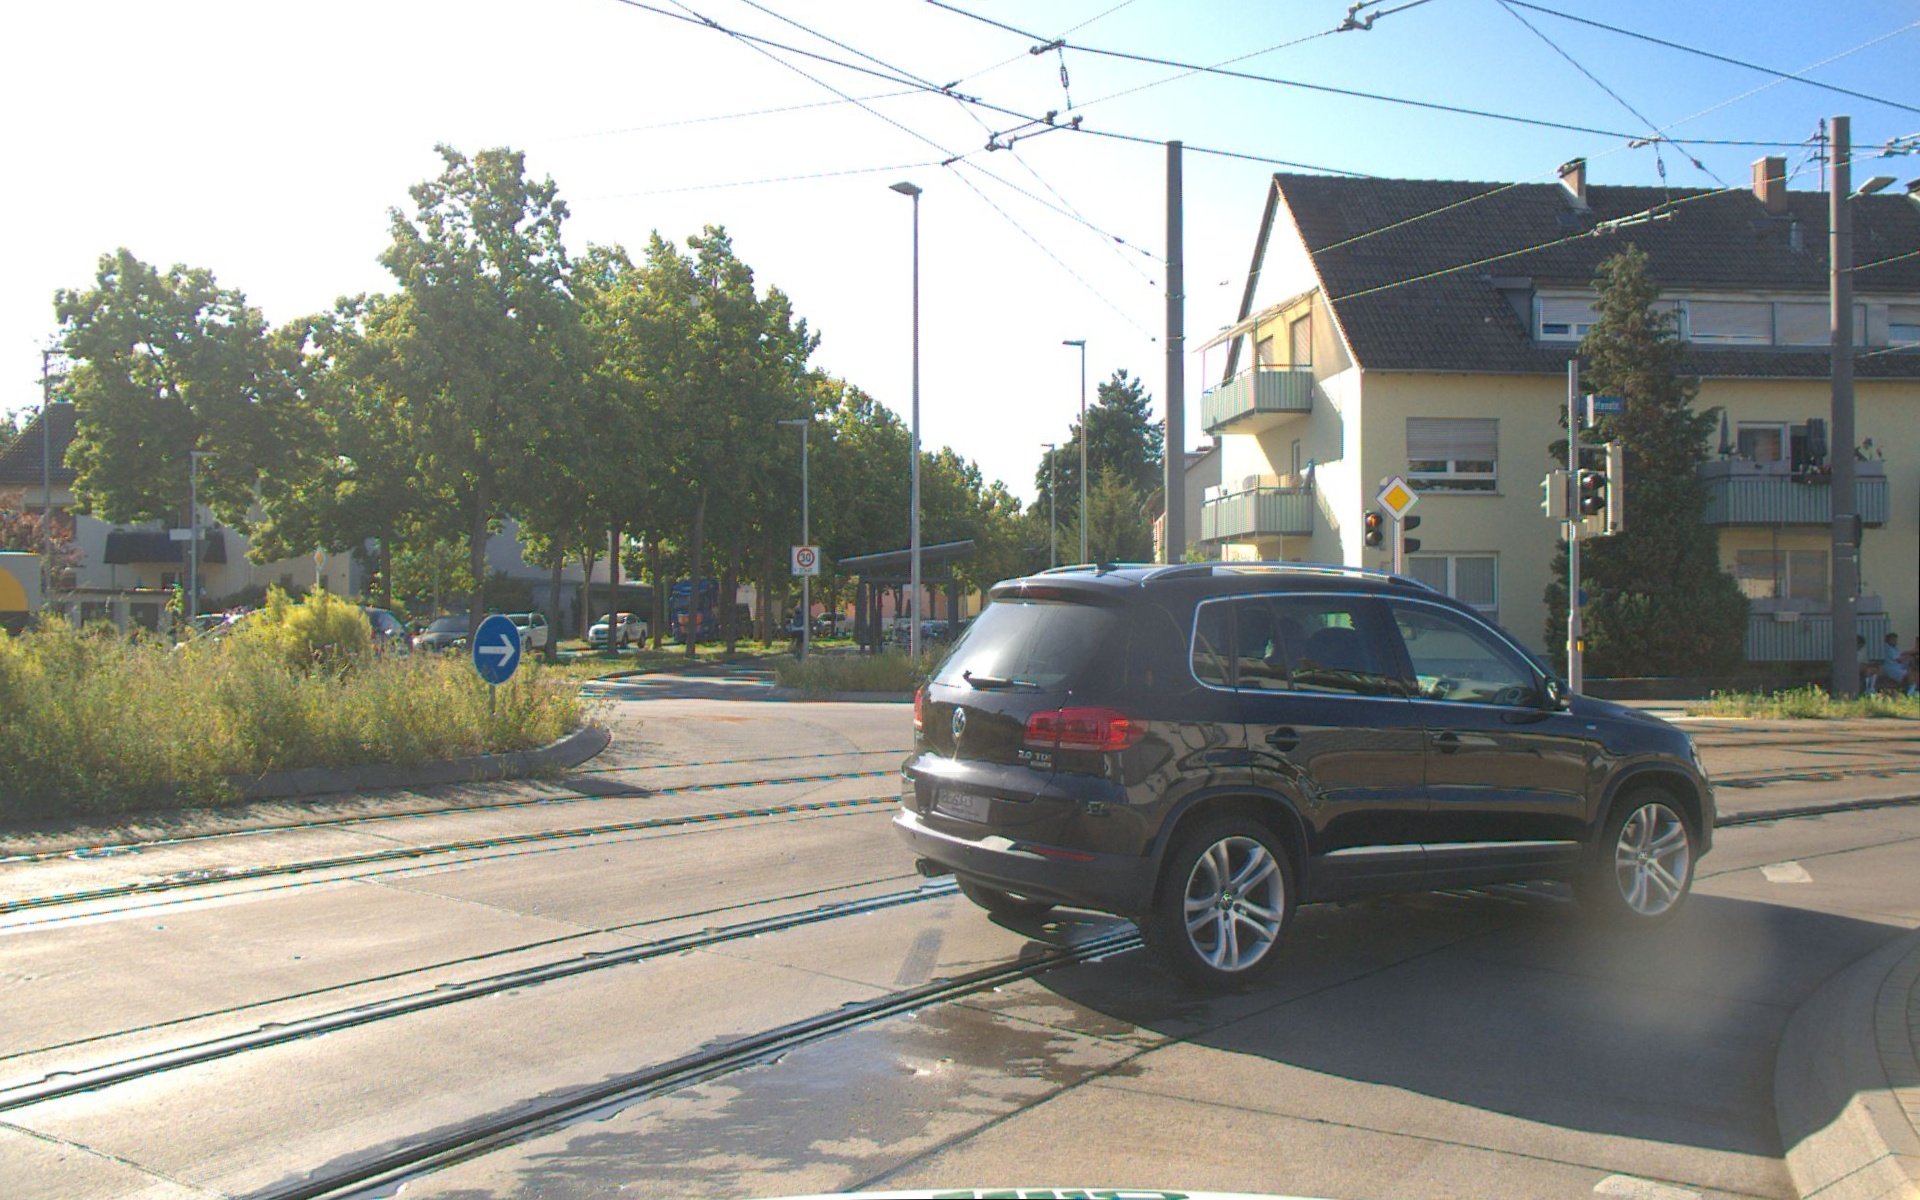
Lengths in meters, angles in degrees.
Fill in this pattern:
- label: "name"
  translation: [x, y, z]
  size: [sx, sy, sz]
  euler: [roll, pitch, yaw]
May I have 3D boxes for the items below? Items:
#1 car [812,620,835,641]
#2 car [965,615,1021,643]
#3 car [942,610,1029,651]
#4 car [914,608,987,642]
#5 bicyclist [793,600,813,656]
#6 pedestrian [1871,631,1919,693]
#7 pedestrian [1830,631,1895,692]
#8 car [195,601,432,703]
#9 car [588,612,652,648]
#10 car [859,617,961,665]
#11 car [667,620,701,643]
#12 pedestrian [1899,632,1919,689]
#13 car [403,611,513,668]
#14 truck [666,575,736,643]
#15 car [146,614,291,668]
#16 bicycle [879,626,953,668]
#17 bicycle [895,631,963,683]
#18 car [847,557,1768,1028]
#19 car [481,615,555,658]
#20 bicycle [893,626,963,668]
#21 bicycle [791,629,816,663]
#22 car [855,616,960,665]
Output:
- label: "car"
  translation: [-11.392, 2.531, 138.316]
  size: [1.613, 1.677, 3.569]
  euler: [1, -1, 0]
- label: "car"
  translation: [1.961, 1.735, 98.171]
  size: [3.290, 1.560, 1.523]
  euler: [1, -1, 0]
- label: "car"
  translation: [1.053, 1.238, 67.443]
  size: [3.444, 1.560, 1.577]
  euler: [1, -1, 1]
- label: "car"
  translation: [-0.420, 1.199, 79.843]
  size: [3.444, 1.560, 1.577]
  euler: [1, -1, 1]
- label: "bicyclist"
  translation: [-4.974, 0.885, 52.367]
  size: [0.591, 1.744, 0.543]
  euler: [0, -4, -7]
- label: "pedestrian"
  translation: [16.920, 1.113, 29.706]
  size: [0.620, 1.083, 0.808]
  euler: [2, -1, -39]
- label: "pedestrian"
  translation: [16.087, 1.085, 29.499]
  size: [0.673, 1.065, 0.818]
  euler: [1, -1, -8]
- label: "car"
  translation: [-10.374, 0.788, 26.467]
  size: [3.834, 1.517, 1.687]
  euler: [-1, -1, 35]
- label: "car"
  translation: [-17.894, 1.579, 87.255]
  size: [1.951, 1.804, 5.062]
  euler: [1, -1, 4]
- label: "car"
  translation: [-1.720, 1.415, 57.705]
  size: [3.444, 1.560, 1.577]
  euler: [1, -1, 1]
- label: "car"
  translation: [-21.701, 2.492, 130.361]
  size: [1.952, 1.729, 4.218]
  euler: [0, 0, 0]
- label: "pedestrian"
  translation: [17.519, 1.106, 29.932]
  size: [0.587, 1.023, 0.717]
  euler: [2, -1, -30]
- label: "car"
  translation: [-15.277, 1.182, 50.575]
  size: [1.792, 1.608, 4.442]
  euler: [1, -1, 3]
- label: "truck"
  translation: [-16.373, 0.578, 104.934]
  size: [3.006, 4.063, 8.008]
  euler: [1, 0, 1]
- label: "car"
  translation: [-25.134, 1.364, 56.133]
  size: [3.953, 1.724, 2.000]
  euler: [1, -1, 2]
- label: "bicycle"
  translation: [-1.176, 1.255, 44.319]
  size: [1.933, 1.045, 0.696]
  euler: [1, -1, -3]
- label: "bicycle"
  translation: [-0.766, 1.388, 40.631]
  size: [1.632, 1.229, 0.688]
  euler: [1, -1, -3]
- label: "car"
  translation: [1.732, 0.661, 7.844]
  size: [4.201, 1.699, 1.799]
  euler: [0, 1, -31]
- label: "car"
  translation: [-18.843, 1.531, 70.712]
  size: [1.952, 1.729, 4.218]
  euler: [1, -1, 0]
- label: "bicycle"
  translation: [-0.848, 1.224, 43.428]
  size: [1.804, 1.045, 0.688]
  euler: [1, -1, -3]
- label: "bicycle"
  translation: [-4.915, 1.462, 51.999]
  size: [0.751, 1.055, 1.532]
  euler: [0, -2, -7]
- label: "car"
  translation: [-1.754, 1.349, 55.955]
  size: [3.444, 1.560, 1.577]
  euler: [1, -1, 1]
